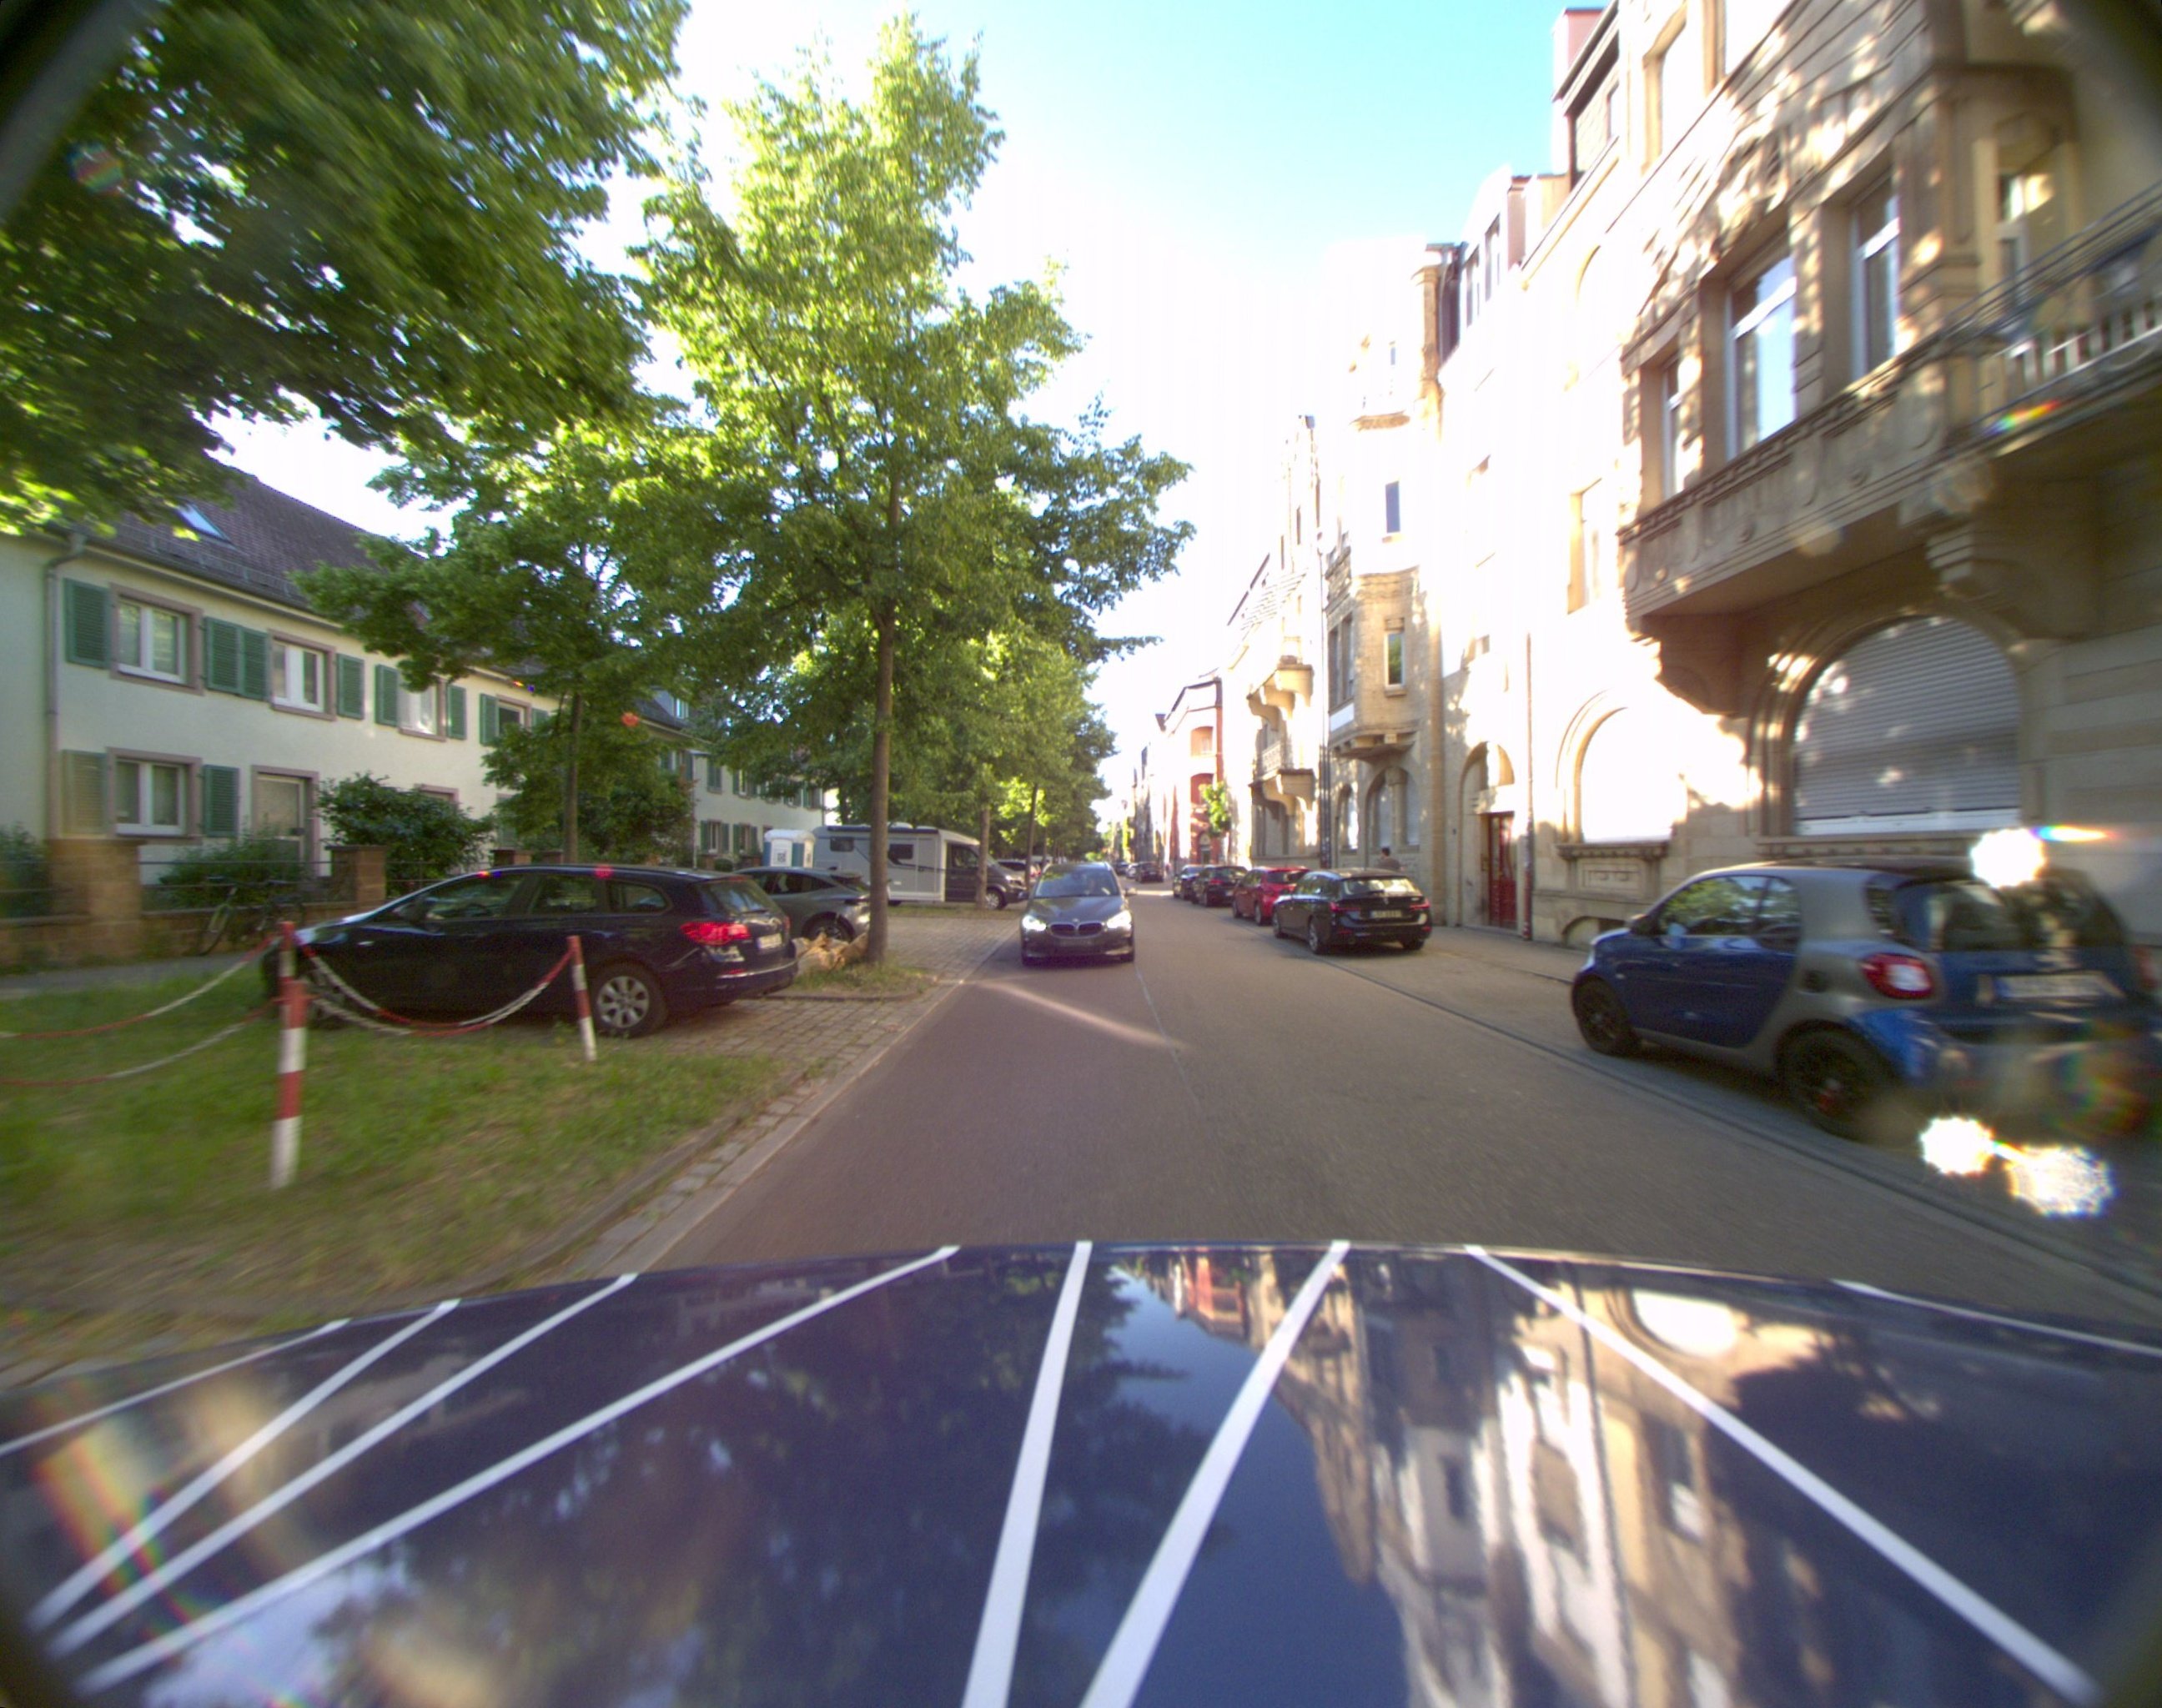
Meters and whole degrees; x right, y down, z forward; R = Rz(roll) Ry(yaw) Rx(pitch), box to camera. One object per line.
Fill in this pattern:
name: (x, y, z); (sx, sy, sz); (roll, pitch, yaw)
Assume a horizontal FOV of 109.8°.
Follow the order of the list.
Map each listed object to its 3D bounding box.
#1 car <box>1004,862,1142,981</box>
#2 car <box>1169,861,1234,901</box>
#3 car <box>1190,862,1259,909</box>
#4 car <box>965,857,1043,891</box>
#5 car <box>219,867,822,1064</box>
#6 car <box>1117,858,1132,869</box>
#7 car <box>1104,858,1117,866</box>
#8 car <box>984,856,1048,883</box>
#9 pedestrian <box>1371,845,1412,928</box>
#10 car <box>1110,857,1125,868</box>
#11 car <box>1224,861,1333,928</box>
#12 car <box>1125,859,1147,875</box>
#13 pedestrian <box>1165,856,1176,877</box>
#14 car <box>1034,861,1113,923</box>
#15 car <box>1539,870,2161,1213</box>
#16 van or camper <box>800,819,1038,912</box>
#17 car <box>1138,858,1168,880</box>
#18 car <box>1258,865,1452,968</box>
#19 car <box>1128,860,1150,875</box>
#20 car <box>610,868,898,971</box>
car: (-0.068, 1.002, 13.277); (1.924, 1.597, 4.517); (-3, 0, 1)
car: (5.107, 1.098, 32.726); (1.893, 1.448, 4.511); (-4, 0, -1)
car: (5.027, 1.069, 27.064); (1.747, 1.457, 3.998); (-2, 0, 2)
car: (-4.177, 1.090, 41.570); (3.997, 1.803, 2.000); (0, 0, 1)
car: (-5.032, 0.942, 7.254); (4.468, 1.469, 1.753); (2, 0, 2)
car: (5.514, 1.165, 95.755); (1.702, 1.372, 4.000); (0, 0, 0)
car: (6.237, 1.712, 160.107); (2.000, 1.529, 3.997); (-2, 0, -8)
car: (-4.471, 1.053, 52.343); (3.994, 1.871, 2.002); (0, 0, 9)
pedestrian: (7.080, 0.729, 17.333); (0.695, 1.837, 0.497); (-2, 0, 2)
car: (5.131, 1.151, 107.667); (1.987, 1.549, 3.833); (0, 0, 0)
car: (5.057, 0.976, 19.970); (1.694, 1.457, 3.773); (-5, 0, -1)
car: (5.765, 1.353, 79.469); (1.998, 1.514, 4.000); (-2, 0, 1)
pedestrian: (7.493, 1.054, 63.438); (0.779, 1.692, 1.010); (0, 0, 1)
car: (-0.159, 1.007, 22.147); (1.998, 1.510, 4.652); (-3, 0, 1)
car: (4.805, 0.936, 5.095); (1.688, 1.500, 2.861); (-4, 0, 1)
van or camper: (-5.132, 0.333, 24.964); (7.266, 2.887, 2.427); (0, 1, 1)
car: (5.576, 1.150, 59.205); (1.862, 1.594, 4.000); (-3, 0, 0)
car: (4.803, 1.007, 14.135); (1.905, 1.430, 4.542); (-4, 0, 0)
car: (5.713, 1.316, 75.253); (1.922, 1.510, 4.000); (0, 0, 0)
car: (-5.305, 1.029, 12.814); (3.998, 1.510, 1.999); (0, 1, -3)
